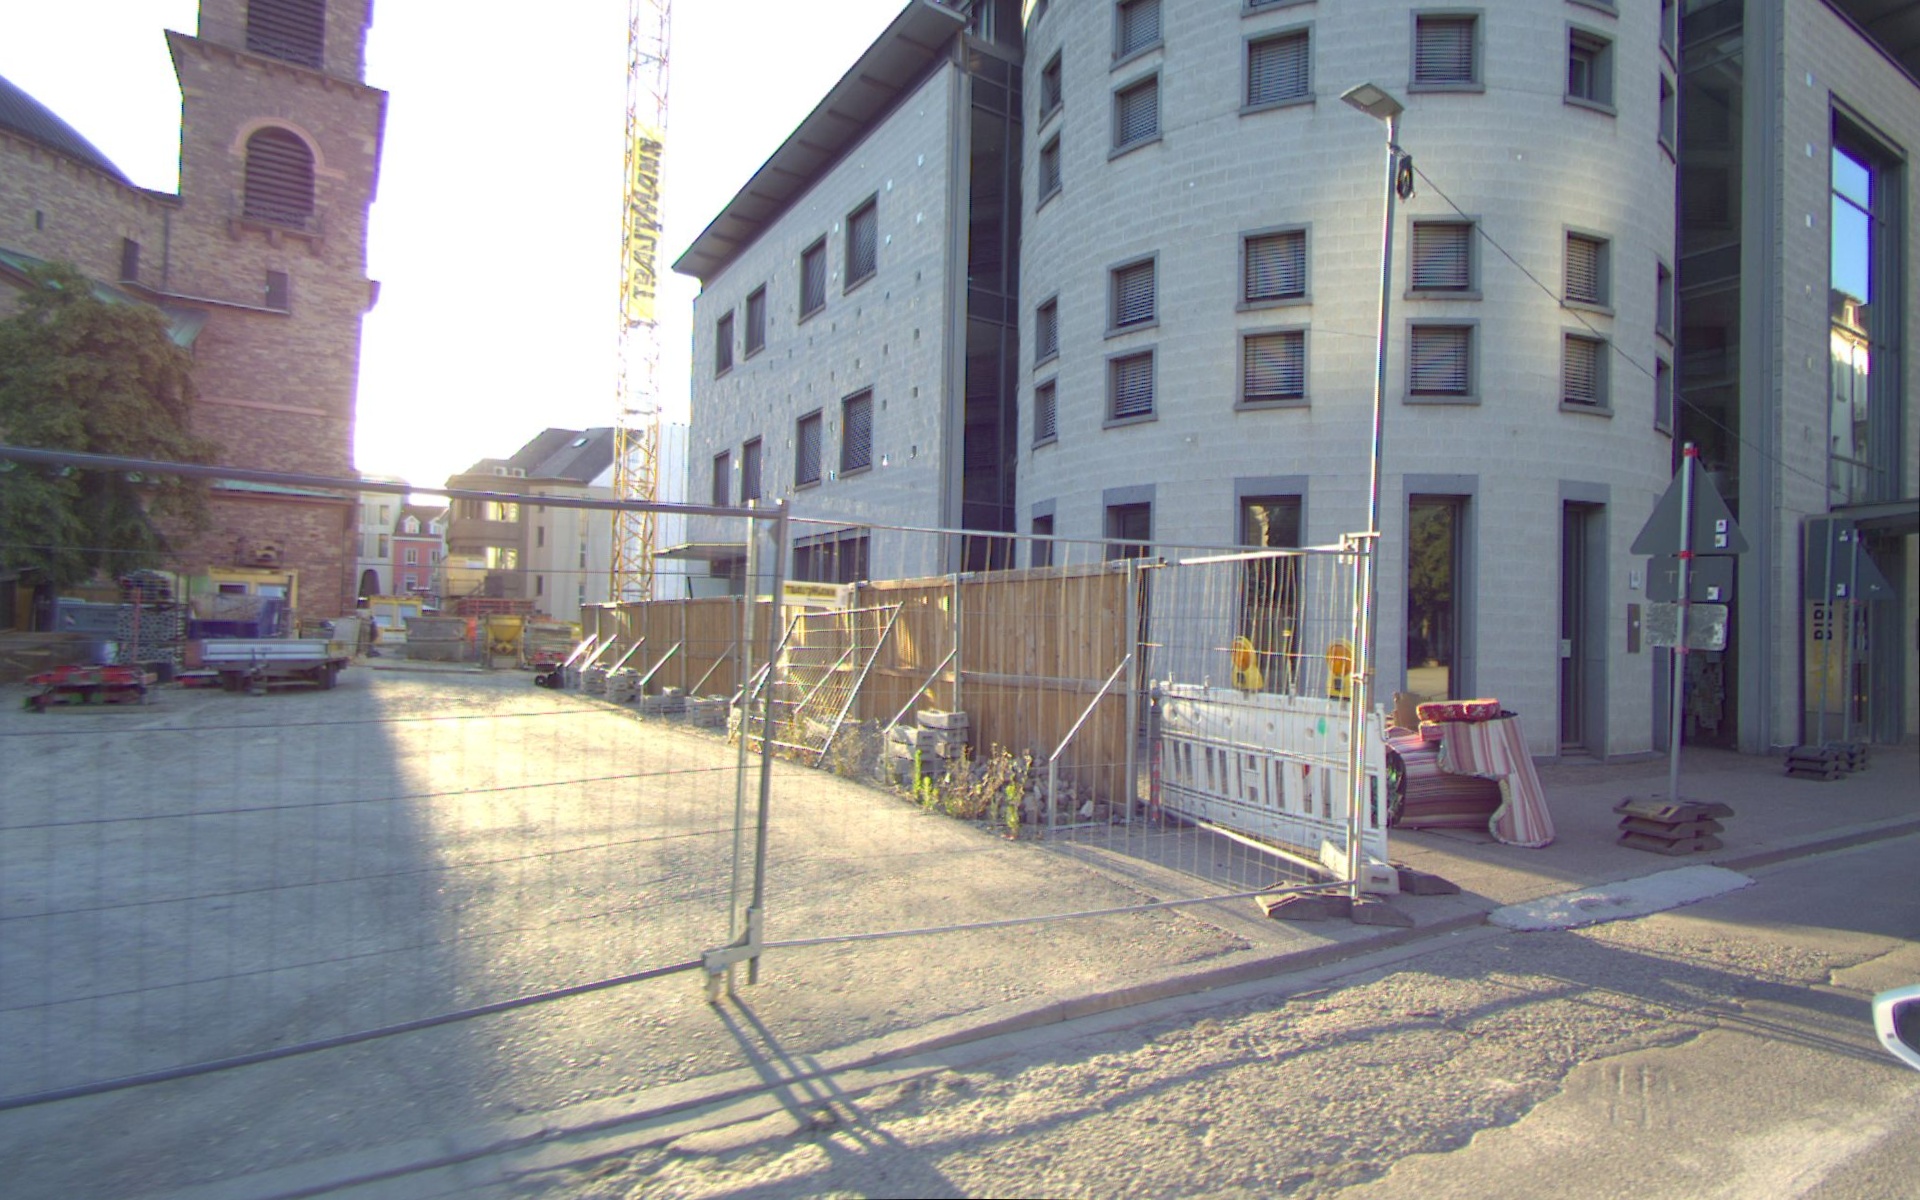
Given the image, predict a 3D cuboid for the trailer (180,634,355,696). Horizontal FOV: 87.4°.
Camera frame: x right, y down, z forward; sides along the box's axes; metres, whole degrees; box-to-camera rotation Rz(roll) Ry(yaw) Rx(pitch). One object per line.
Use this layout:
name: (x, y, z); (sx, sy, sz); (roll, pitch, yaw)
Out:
trailer: (-12.724, 1.158, 18.769); (1.973, 1.004, 4.341); (2, -2, -25)
